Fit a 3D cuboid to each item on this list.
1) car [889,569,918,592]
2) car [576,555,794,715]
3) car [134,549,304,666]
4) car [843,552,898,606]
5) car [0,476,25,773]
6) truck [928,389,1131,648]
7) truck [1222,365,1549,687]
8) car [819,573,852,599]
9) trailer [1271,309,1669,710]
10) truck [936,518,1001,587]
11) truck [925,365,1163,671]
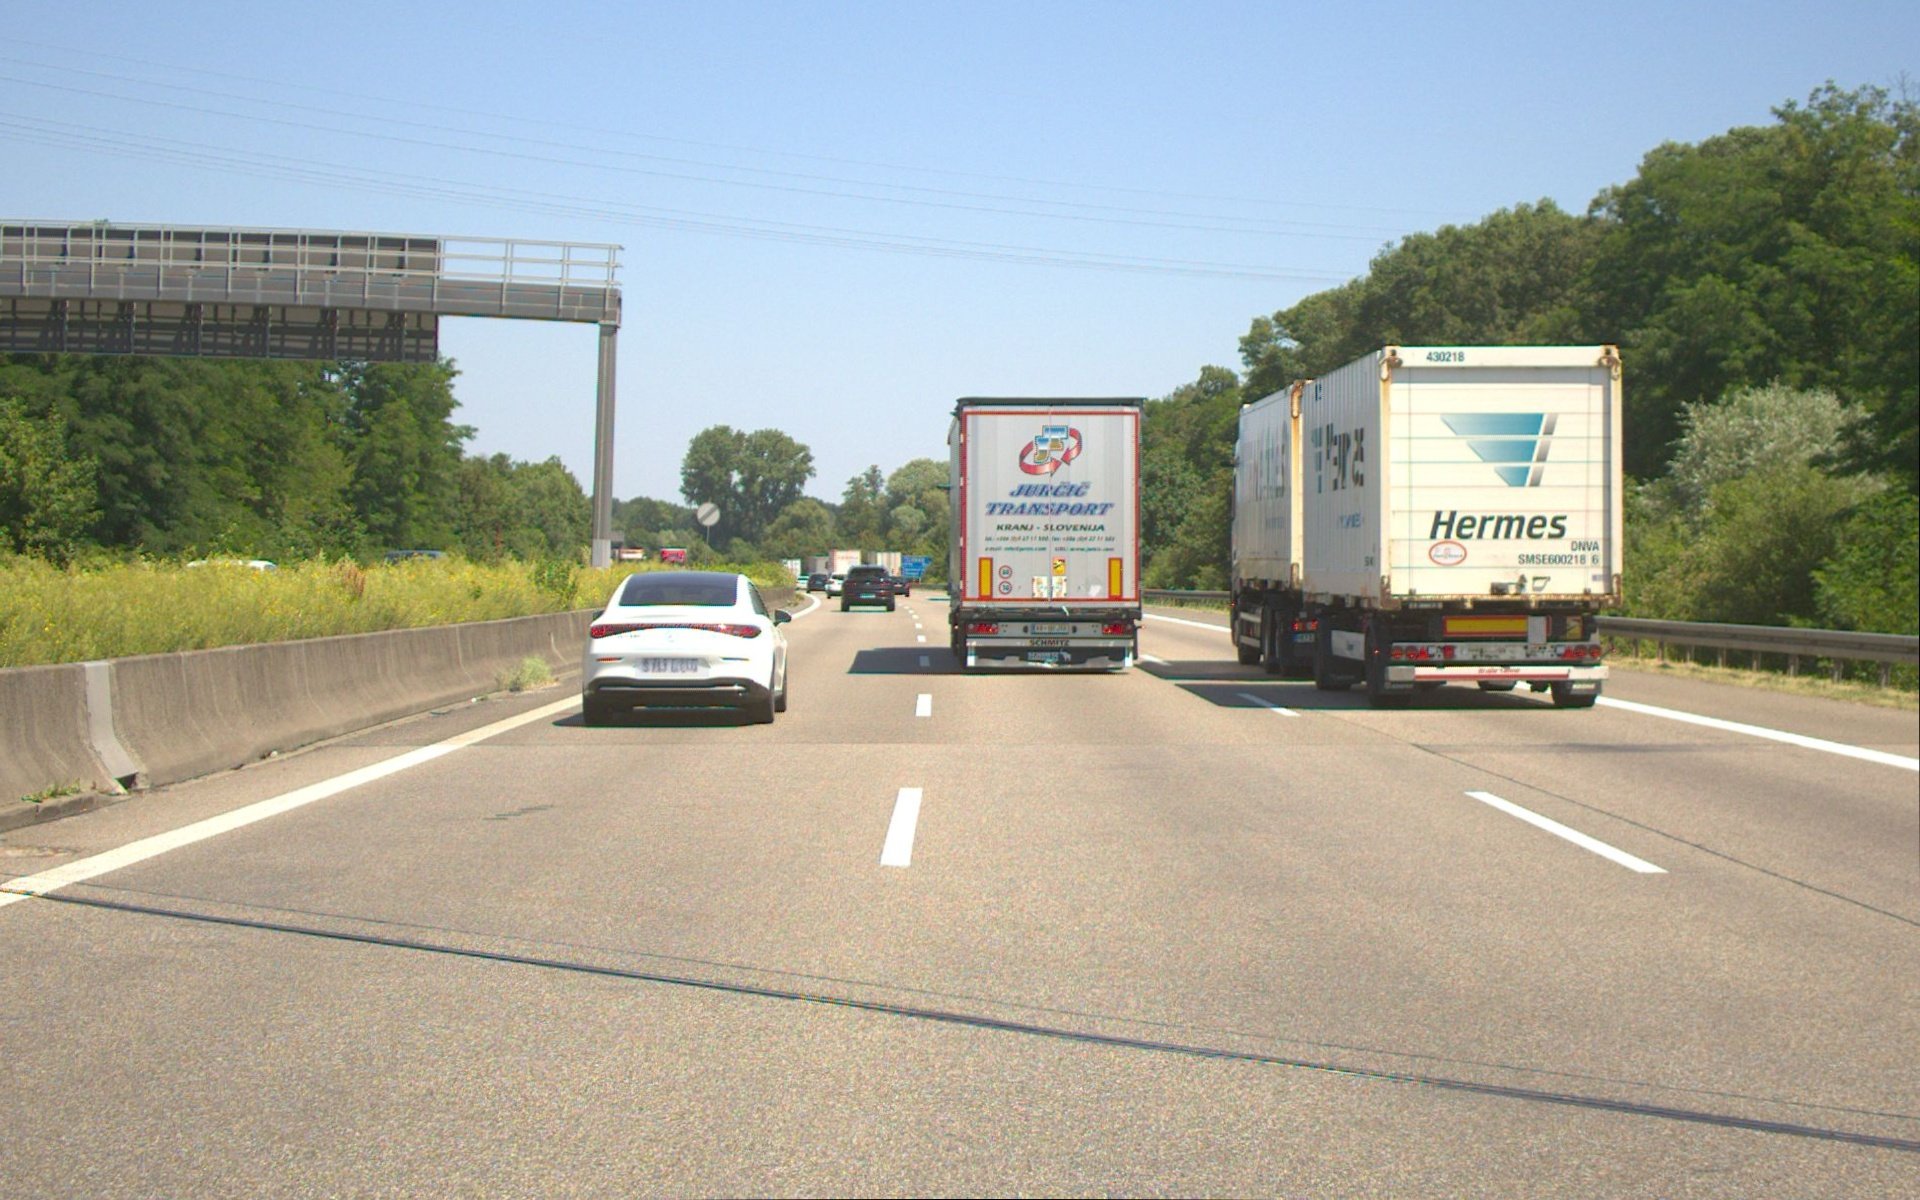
[{"bbox_3d":[-3.936,-1.337,237.462,1.993,1.590,4.000,0,1,-1],"label":"car"},{"bbox_3d":[-2.671,0.287,34.352,1.767,1.443,5.108,0,1,0],"label":"car"},{"bbox_3d":[-12.157,0.096,56.638,1.993,1.834,4.075,1,1,-1],"label":"car"},{"bbox_3d":[-3.335,-0.798,128.139,1.993,1.867,4.001,1,2,-1],"label":"car"},{"bbox_3d":[-7.703,0.186,21.496,2.292,2.007,4.710,0,1,2],"label":"car"},{"bbox_3d":[1.093,-1.352,58.948,3.218,4.191,6.551,0,1,-1],"label":"truck"},{"bbox_3d":[5.799,-1.084,48.969,3.326,4.039,10.954,1,2,0],"label":"truck"},{"bbox_3d":[-7.763,-0.879,213.948,1.993,1.590,4.000,0,1,-1],"label":"car"},{"bbox_3d":[5.700,-0.967,40.208,3.367,4.128,9.091,1,0,1],"label":"trailer"},{"bbox_3d":[0.461,-2.769,201.614,3.444,3.976,9.516,0,1,-2],"label":"truck"},{"bbox_3d":[1.162,-1.213,51.756,3.229,4.187,8.466,1,1,0],"label":"truck"}]
